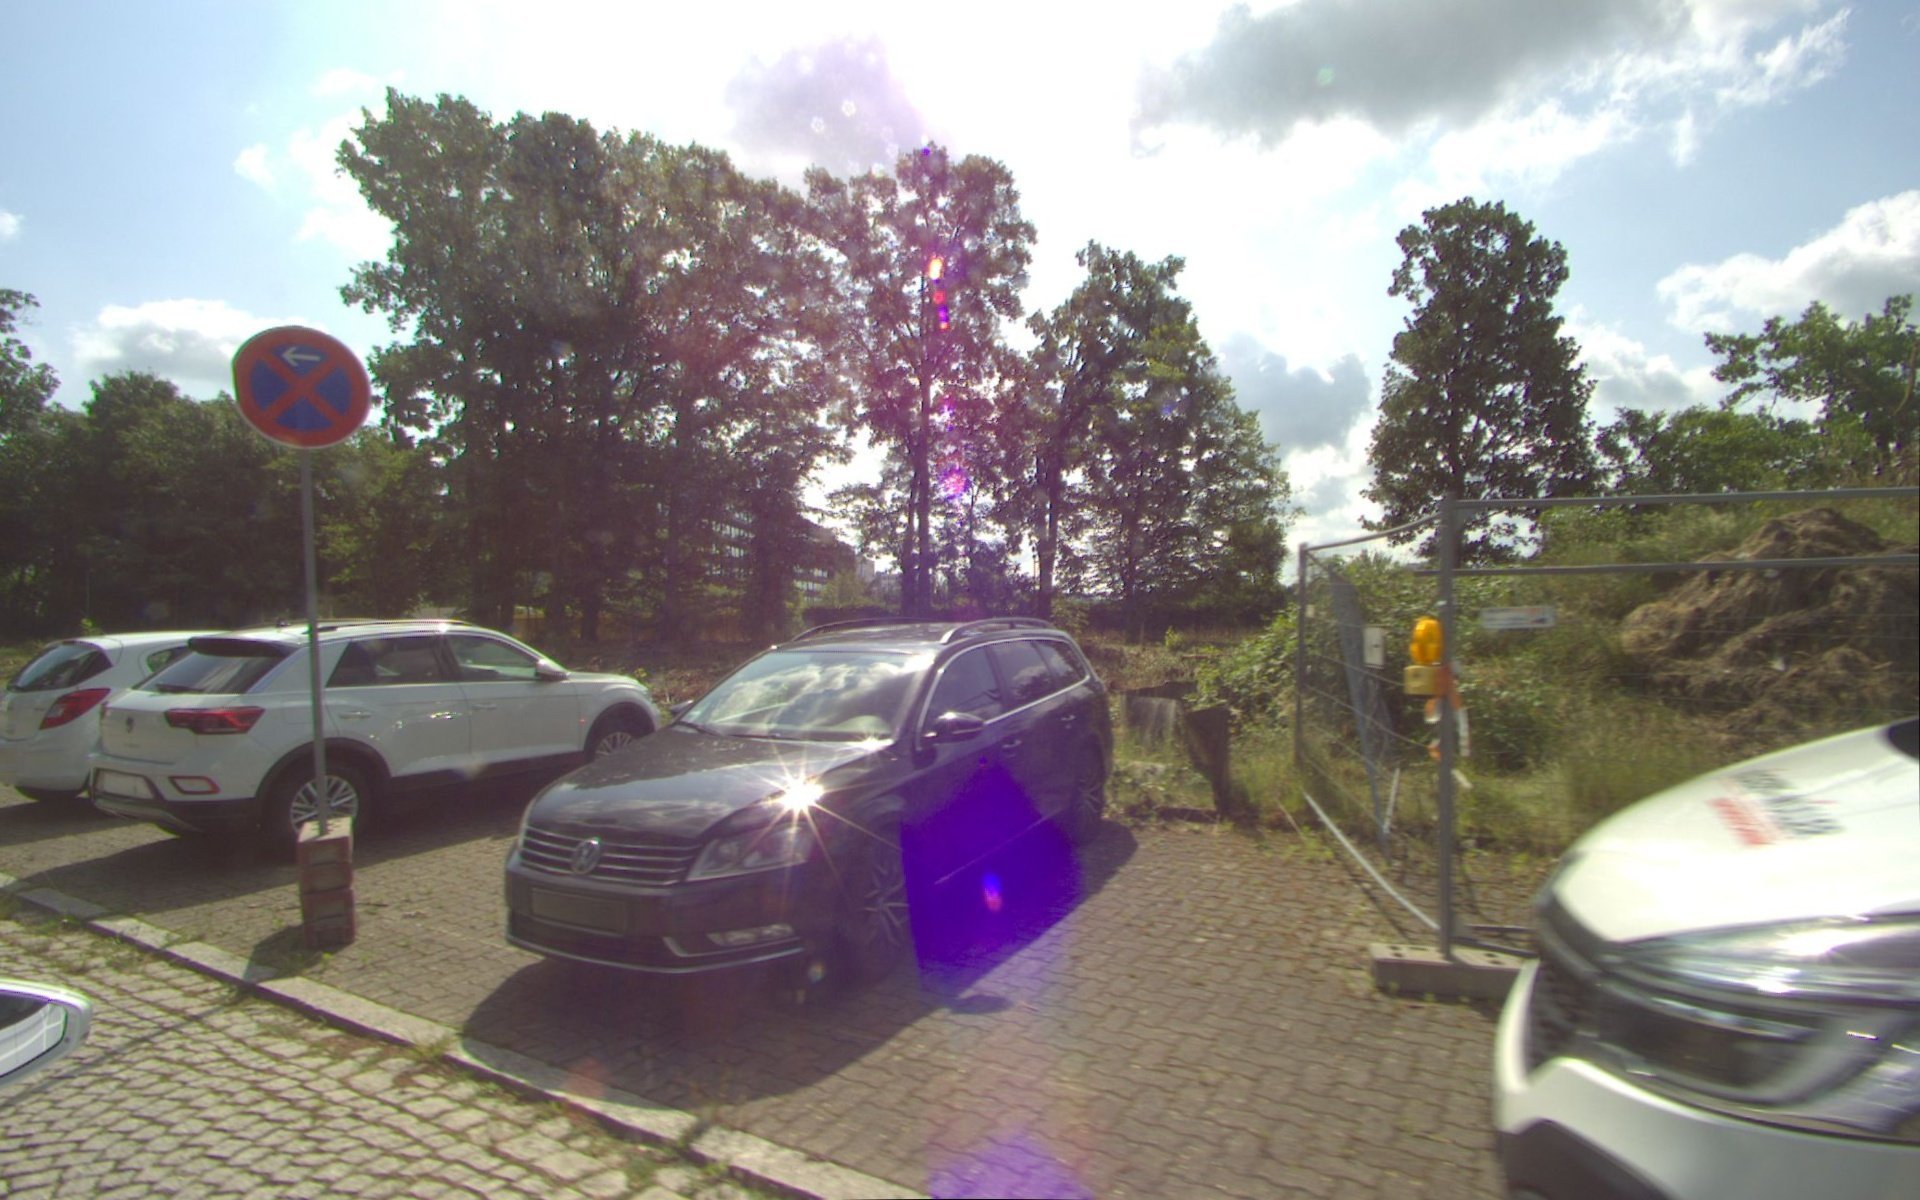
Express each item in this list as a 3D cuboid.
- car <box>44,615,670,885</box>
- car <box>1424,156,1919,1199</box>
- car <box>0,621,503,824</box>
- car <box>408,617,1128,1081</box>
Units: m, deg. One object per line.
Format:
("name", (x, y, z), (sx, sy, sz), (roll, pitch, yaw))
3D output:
("car", (-4.421, 0.920, 8.043), (1.720, 1.526, 3.983), (-1, 0, 28))
("car", (3.515, 0.517, 0.710), (5.598, 2.080, 1.910), (-1, -1, 32))
("car", (-6.850, 0.992, 9.906), (1.678, 1.483, 4.038), (-1, 0, 28))
("car", (-0.529, 0.890, 5.768), (1.718, 1.494, 4.451), (-1, 0, 27))
